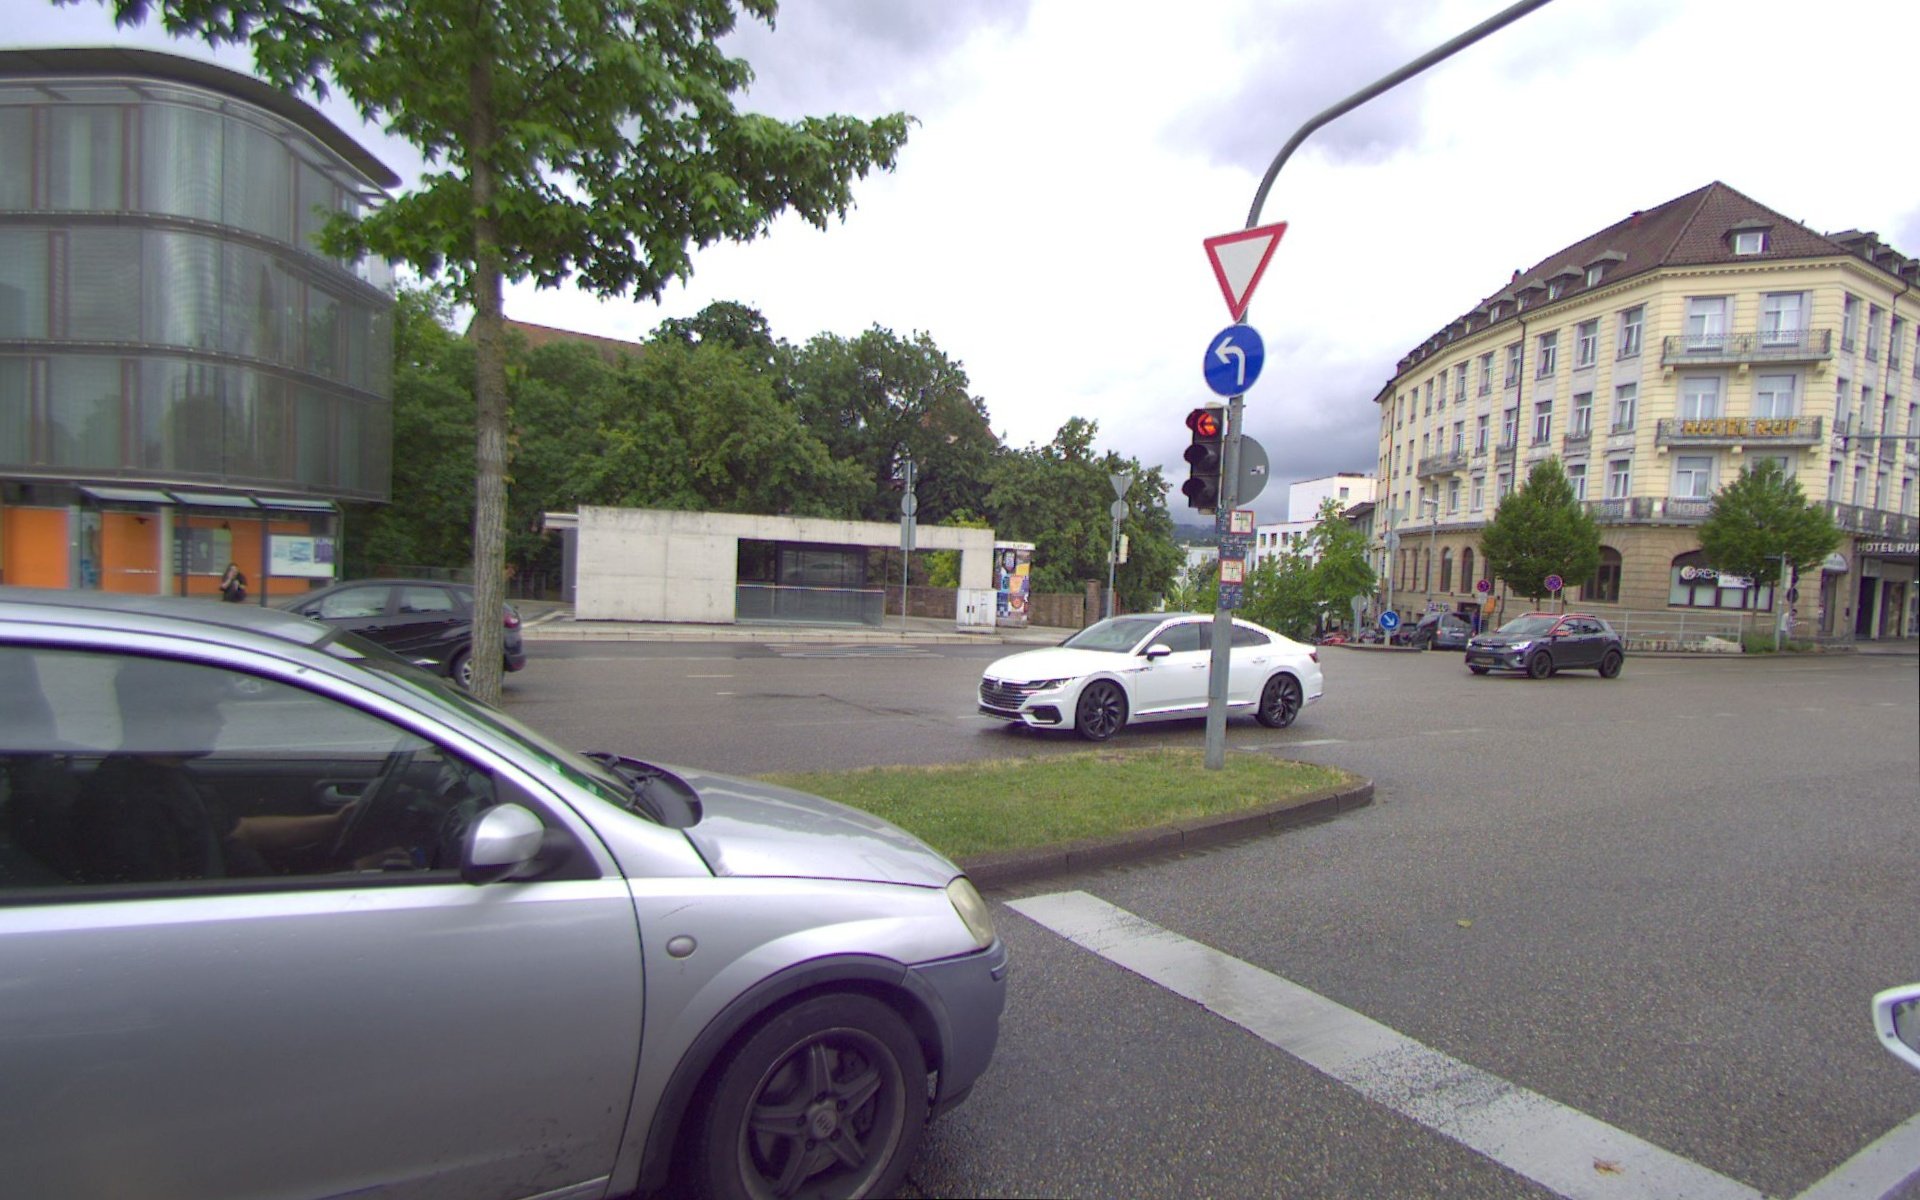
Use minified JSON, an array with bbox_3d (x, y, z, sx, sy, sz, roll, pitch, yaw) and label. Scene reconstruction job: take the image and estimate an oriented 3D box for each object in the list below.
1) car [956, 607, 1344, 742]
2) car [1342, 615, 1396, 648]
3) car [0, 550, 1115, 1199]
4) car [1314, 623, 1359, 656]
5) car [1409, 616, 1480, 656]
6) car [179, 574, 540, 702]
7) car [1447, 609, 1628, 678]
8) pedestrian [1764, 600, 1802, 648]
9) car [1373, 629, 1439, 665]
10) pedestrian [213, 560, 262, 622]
[{"bbox_3d":[2.467,0.854,12.611,4.801,1.400,1.716,1,0,-29],"label":"car"},{"bbox_3d":[23.159,1.770,56.996,1.757,1.662,3.916,2,1,6],"label":"car"},{"bbox_3d":[-1.614,0.652,2.286,3.693,1.478,1.615,2,1,-31],"label":"car"},{"bbox_3d":[23.582,2.474,63.050,1.741,1.836,3.624,2,1,7],"label":"car"},{"bbox_3d":[21.731,1.573,45.191,1.764,1.589,4.002,2,1,9],"label":"car"},{"bbox_3d":[-8.115,0.484,13.946,4.029,1.551,1.763,2,1,-29],"label":"car"},{"bbox_3d":[13.926,1.043,24.217,3.966,1.496,1.628,2,1,-21],"label":"car"},{"bbox_3d":[33.704,0.969,41.136,1.010,1.903,0.859,1,1,-30],"label":"pedestrian"},{"bbox_3d":[22.882,2.383,51.700,1.959,1.662,4.002,2,0,6],"label":"car"},{"bbox_3d":[-16.087,-0.196,22.383,0.780,1.341,0.798,1,1,-28],"label":"pedestrian"}]
